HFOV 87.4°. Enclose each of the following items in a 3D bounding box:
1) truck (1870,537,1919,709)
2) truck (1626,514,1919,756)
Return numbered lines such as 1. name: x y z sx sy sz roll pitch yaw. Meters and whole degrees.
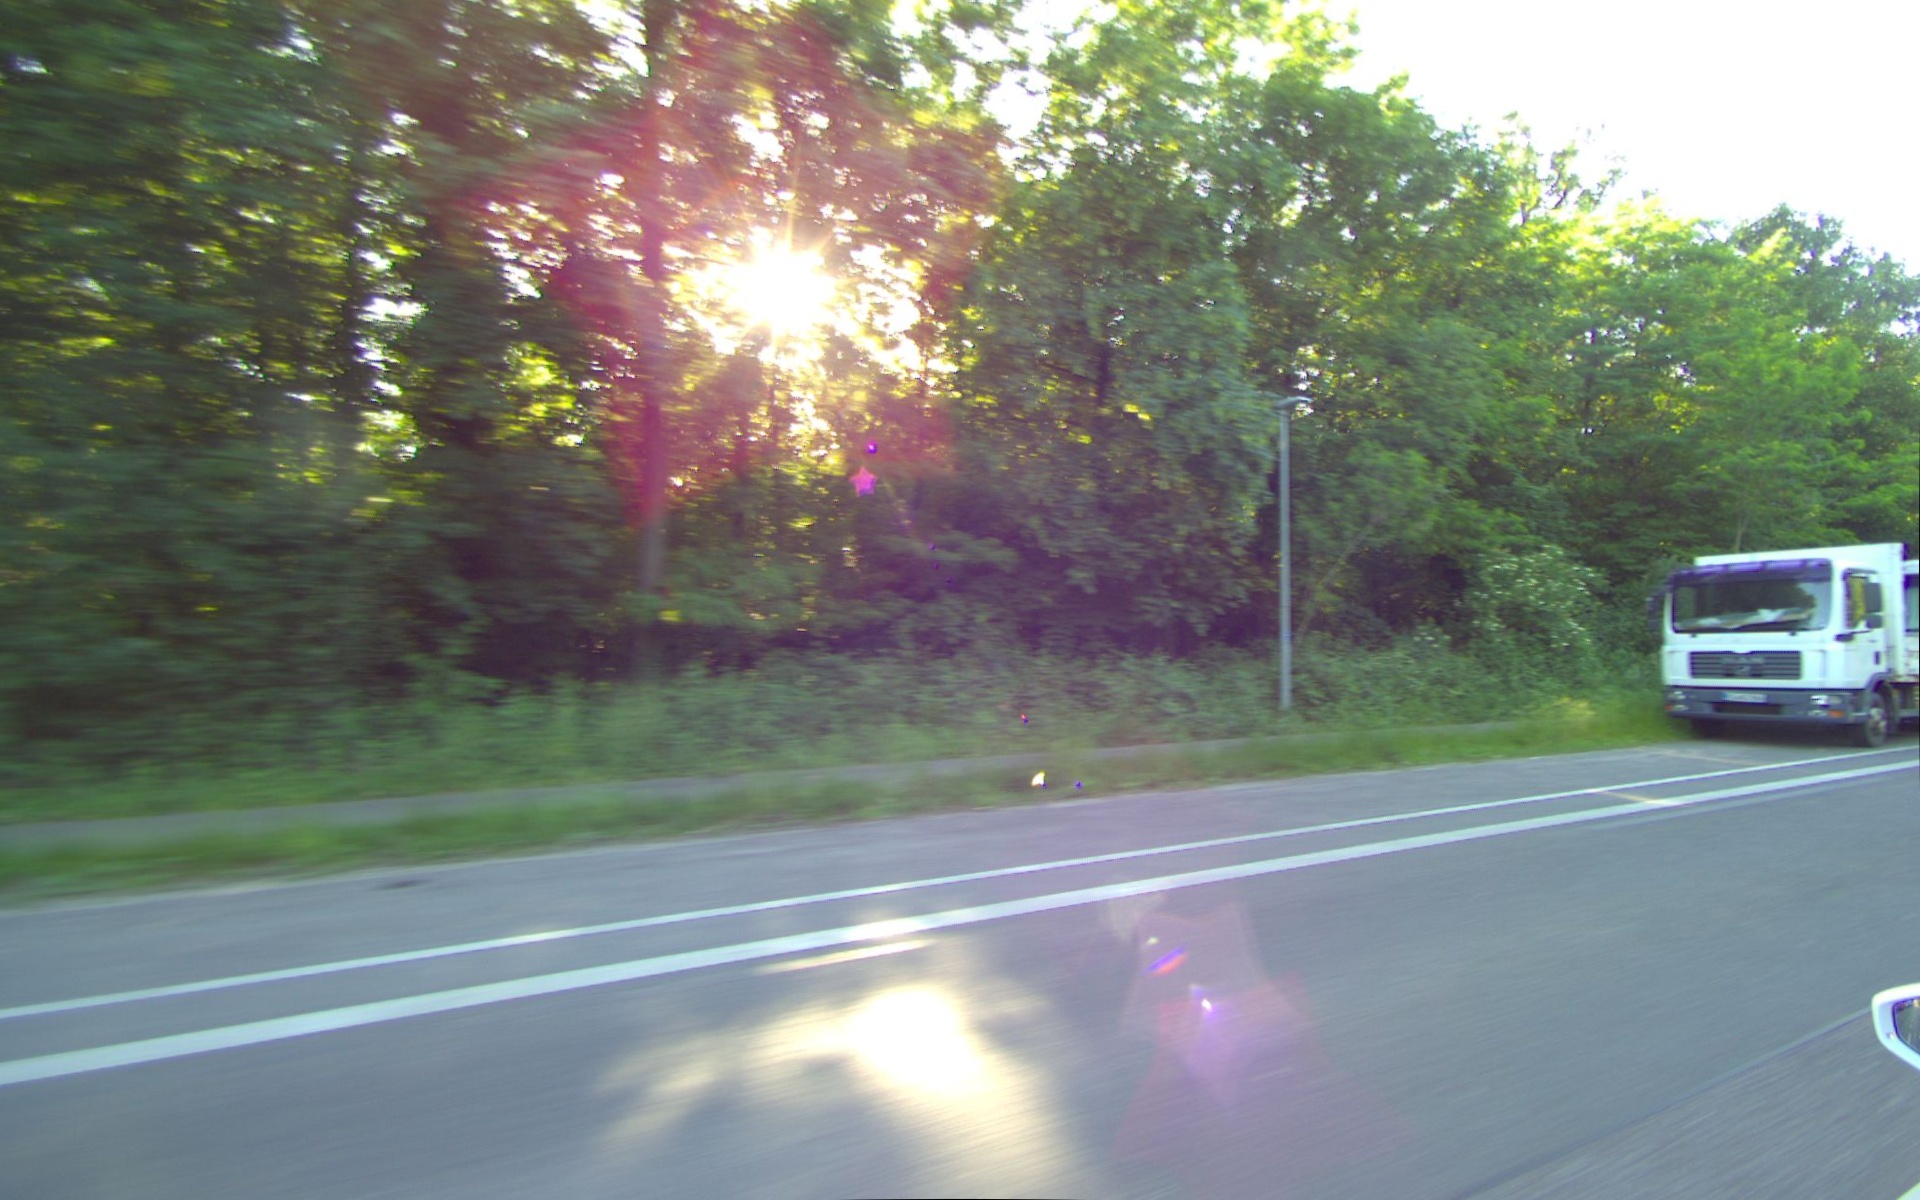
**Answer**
1. truck: 23.890 0.558 22.046 10.794 3.392 2.695 1 -1 -30
2. truck: 14.264 0.547 16.178 7.895 3.134 2.695 1 -1 -30
